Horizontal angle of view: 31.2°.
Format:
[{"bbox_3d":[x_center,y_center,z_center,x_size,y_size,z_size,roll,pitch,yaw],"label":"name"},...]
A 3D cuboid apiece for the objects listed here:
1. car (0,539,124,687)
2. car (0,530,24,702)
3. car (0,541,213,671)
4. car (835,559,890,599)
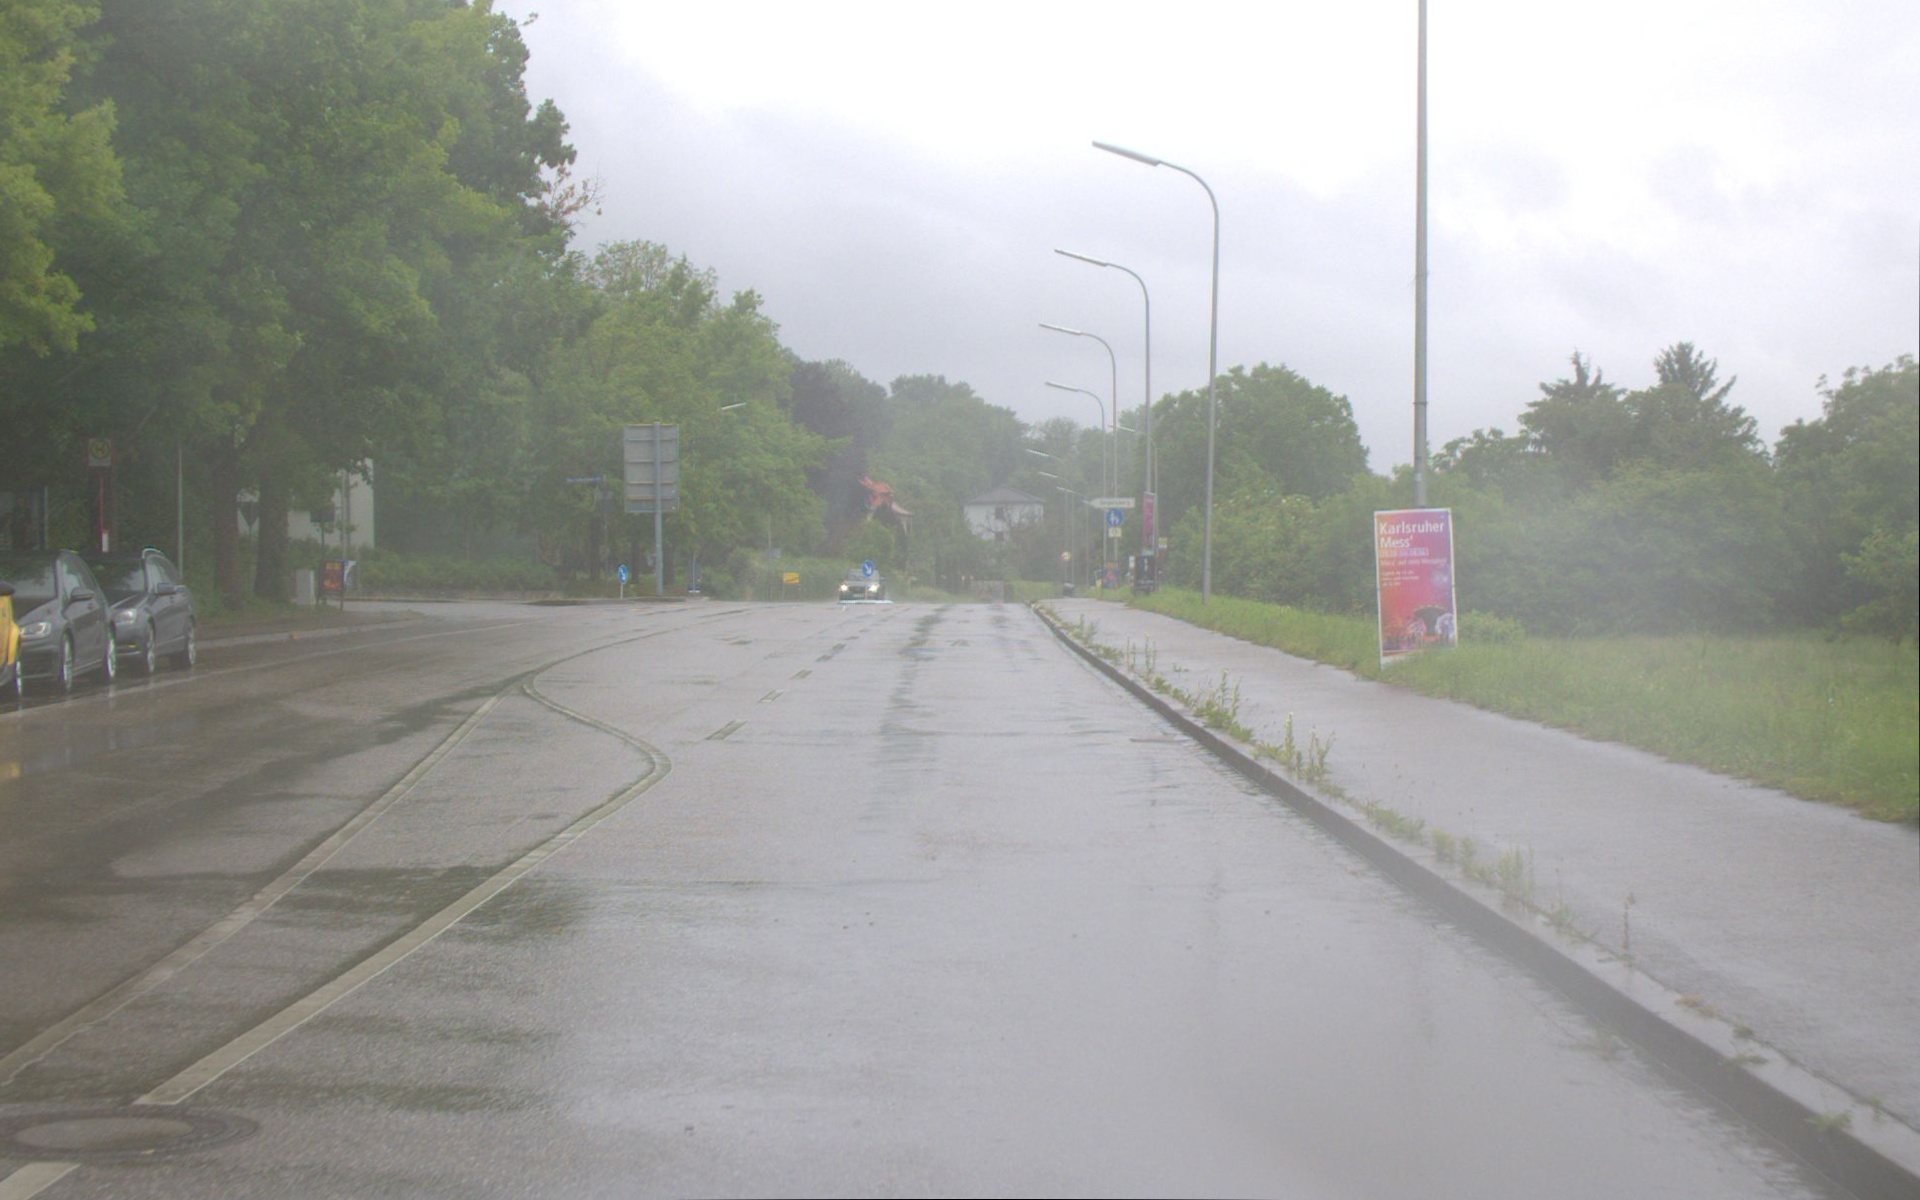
[{"bbox_3d":[-9.556,0.106,35.072,1.433,1.414,4.105,-1,1,-6],"label":"car"},{"bbox_3d":[-9.359,0.144,31.095,1.433,1.532,2.820,-1,1,-9],"label":"car"},{"bbox_3d":[-10.028,0.035,40.401,1.686,1.414,4.742,-1,1,-3],"label":"car"},{"bbox_3d":[-4.486,-0.974,158.425,1.795,1.756,3.998,1,1,9],"label":"car"}]
